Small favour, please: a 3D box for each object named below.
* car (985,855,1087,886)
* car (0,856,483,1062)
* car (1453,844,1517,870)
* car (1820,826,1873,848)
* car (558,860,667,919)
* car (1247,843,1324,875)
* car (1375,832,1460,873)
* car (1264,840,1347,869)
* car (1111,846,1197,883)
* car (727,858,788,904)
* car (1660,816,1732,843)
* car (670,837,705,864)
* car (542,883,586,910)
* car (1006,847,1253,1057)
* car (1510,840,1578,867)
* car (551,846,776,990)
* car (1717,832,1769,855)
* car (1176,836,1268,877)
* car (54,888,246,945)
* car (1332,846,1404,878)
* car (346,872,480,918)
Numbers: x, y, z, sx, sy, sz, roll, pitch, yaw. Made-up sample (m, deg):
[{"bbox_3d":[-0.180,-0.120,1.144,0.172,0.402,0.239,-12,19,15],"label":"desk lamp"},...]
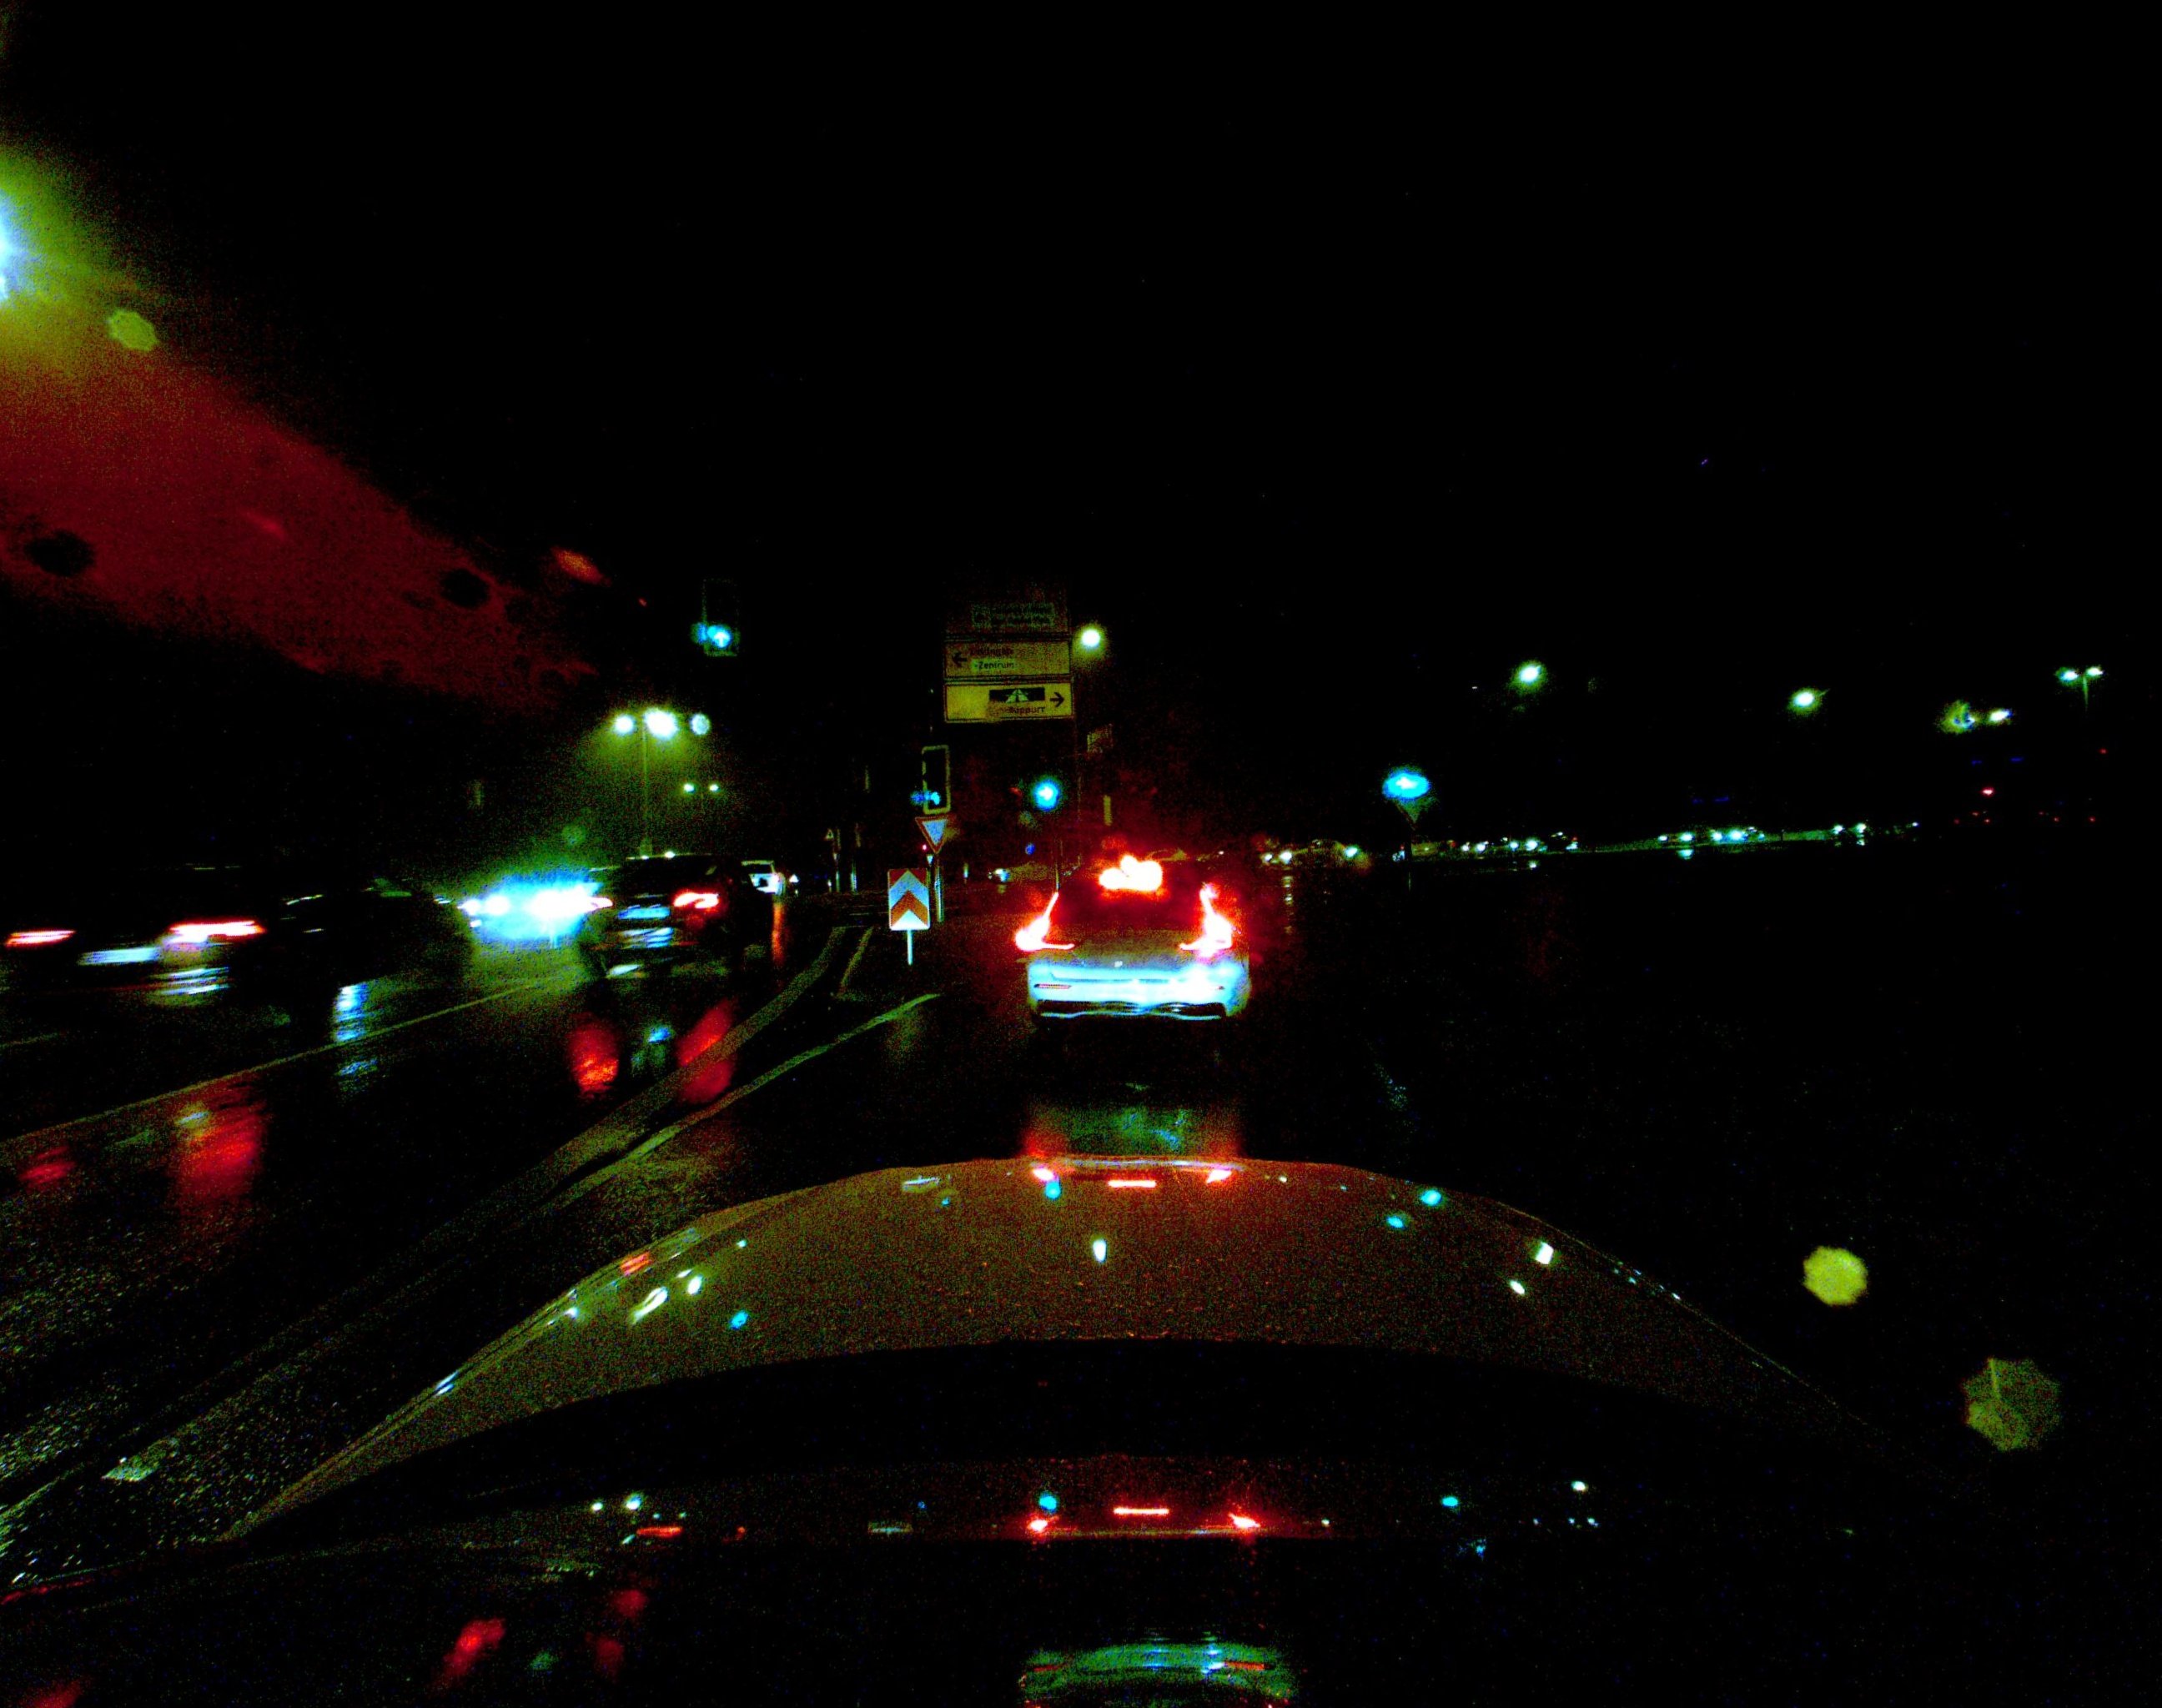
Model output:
[{"bbox_3d":[-2.251,0.809,40.901,4.810,1.427,1.751,-1,-1,-24],"label":"car"},{"bbox_3d":[-8.646,0.906,8.915,1.911,1.658,3.968,-2,-1,-13],"label":"car"},{"bbox_3d":[27.889,0.223,56.208,4.131,1.714,1.751,-1,-1,-25],"label":"car"},{"bbox_3d":[64.297,-1.425,68.386,4.314,1.578,1.803,-2,-1,-26],"label":"car"},{"bbox_3d":[-12.861,0.932,22.601,1.658,1.445,3.772,-2,-1,-15],"label":"car"},{"bbox_3d":[12.058,0.286,47.978,4.257,1.799,1.789,-1,-1,-25],"label":"car"},{"bbox_3d":[23.570,-0.120,57.035,5.617,2.710,2.238,-1,-1,-24],"label":"car"},{"bbox_3d":[12.032,0.015,43.639,4.060,1.487,1.706,-1,-1,-21],"label":"car"},{"bbox_3d":[3.937,0.541,43.776,4.292,1.848,1.751,-1,-1,-25],"label":"car"},{"bbox_3d":[-11.512,0.949,29.171,1.704,1.463,4.288,-2,-1,-18],"label":"car"},{"bbox_3d":[40.573,-1.604,53.714,4.417,1.484,1.768,-2,-3,-23],"label":"car"},{"bbox_3d":[-31.295,-0.246,64.851,1.779,2.079,3.978,0,-1,-16],"label":"car"},{"bbox_3d":[-38.667,3.142,60.970,1.774,1.772,3.976,-1,-1,-17],"label":"car"},{"bbox_3d":[0.759,0.693,8.036,1.784,1.452,4.283,-1,1,11],"label":"car"},{"bbox_3d":[29.595,-0.050,52.063,3.983,1.666,1.789,-1,-1,-25],"label":"car"},{"bbox_3d":[-5.738,0.728,11.825,1.830,1.653,4.460,0,0,-13],"label":"car"},{"bbox_3d":[55.678,-0.883,68.520,4.006,1.849,1.814,0,-1,-25],"label":"car"},{"bbox_3d":[6.576,0.088,37.961,3.906,1.725,1.752,-2,0,-23],"label":"car"},{"bbox_3d":[-33.512,2.189,29.461,1.908,1.717,4.322,-1,0,32],"label":"car"},{"bbox_3d":[17.808,0.494,50.513,4.131,1.848,1.751,-1,-1,-25],"label":"car"},{"bbox_3d":[-24.520,1.439,30.160,1.929,1.463,4.765,0,0,-14],"label":"car"}]
